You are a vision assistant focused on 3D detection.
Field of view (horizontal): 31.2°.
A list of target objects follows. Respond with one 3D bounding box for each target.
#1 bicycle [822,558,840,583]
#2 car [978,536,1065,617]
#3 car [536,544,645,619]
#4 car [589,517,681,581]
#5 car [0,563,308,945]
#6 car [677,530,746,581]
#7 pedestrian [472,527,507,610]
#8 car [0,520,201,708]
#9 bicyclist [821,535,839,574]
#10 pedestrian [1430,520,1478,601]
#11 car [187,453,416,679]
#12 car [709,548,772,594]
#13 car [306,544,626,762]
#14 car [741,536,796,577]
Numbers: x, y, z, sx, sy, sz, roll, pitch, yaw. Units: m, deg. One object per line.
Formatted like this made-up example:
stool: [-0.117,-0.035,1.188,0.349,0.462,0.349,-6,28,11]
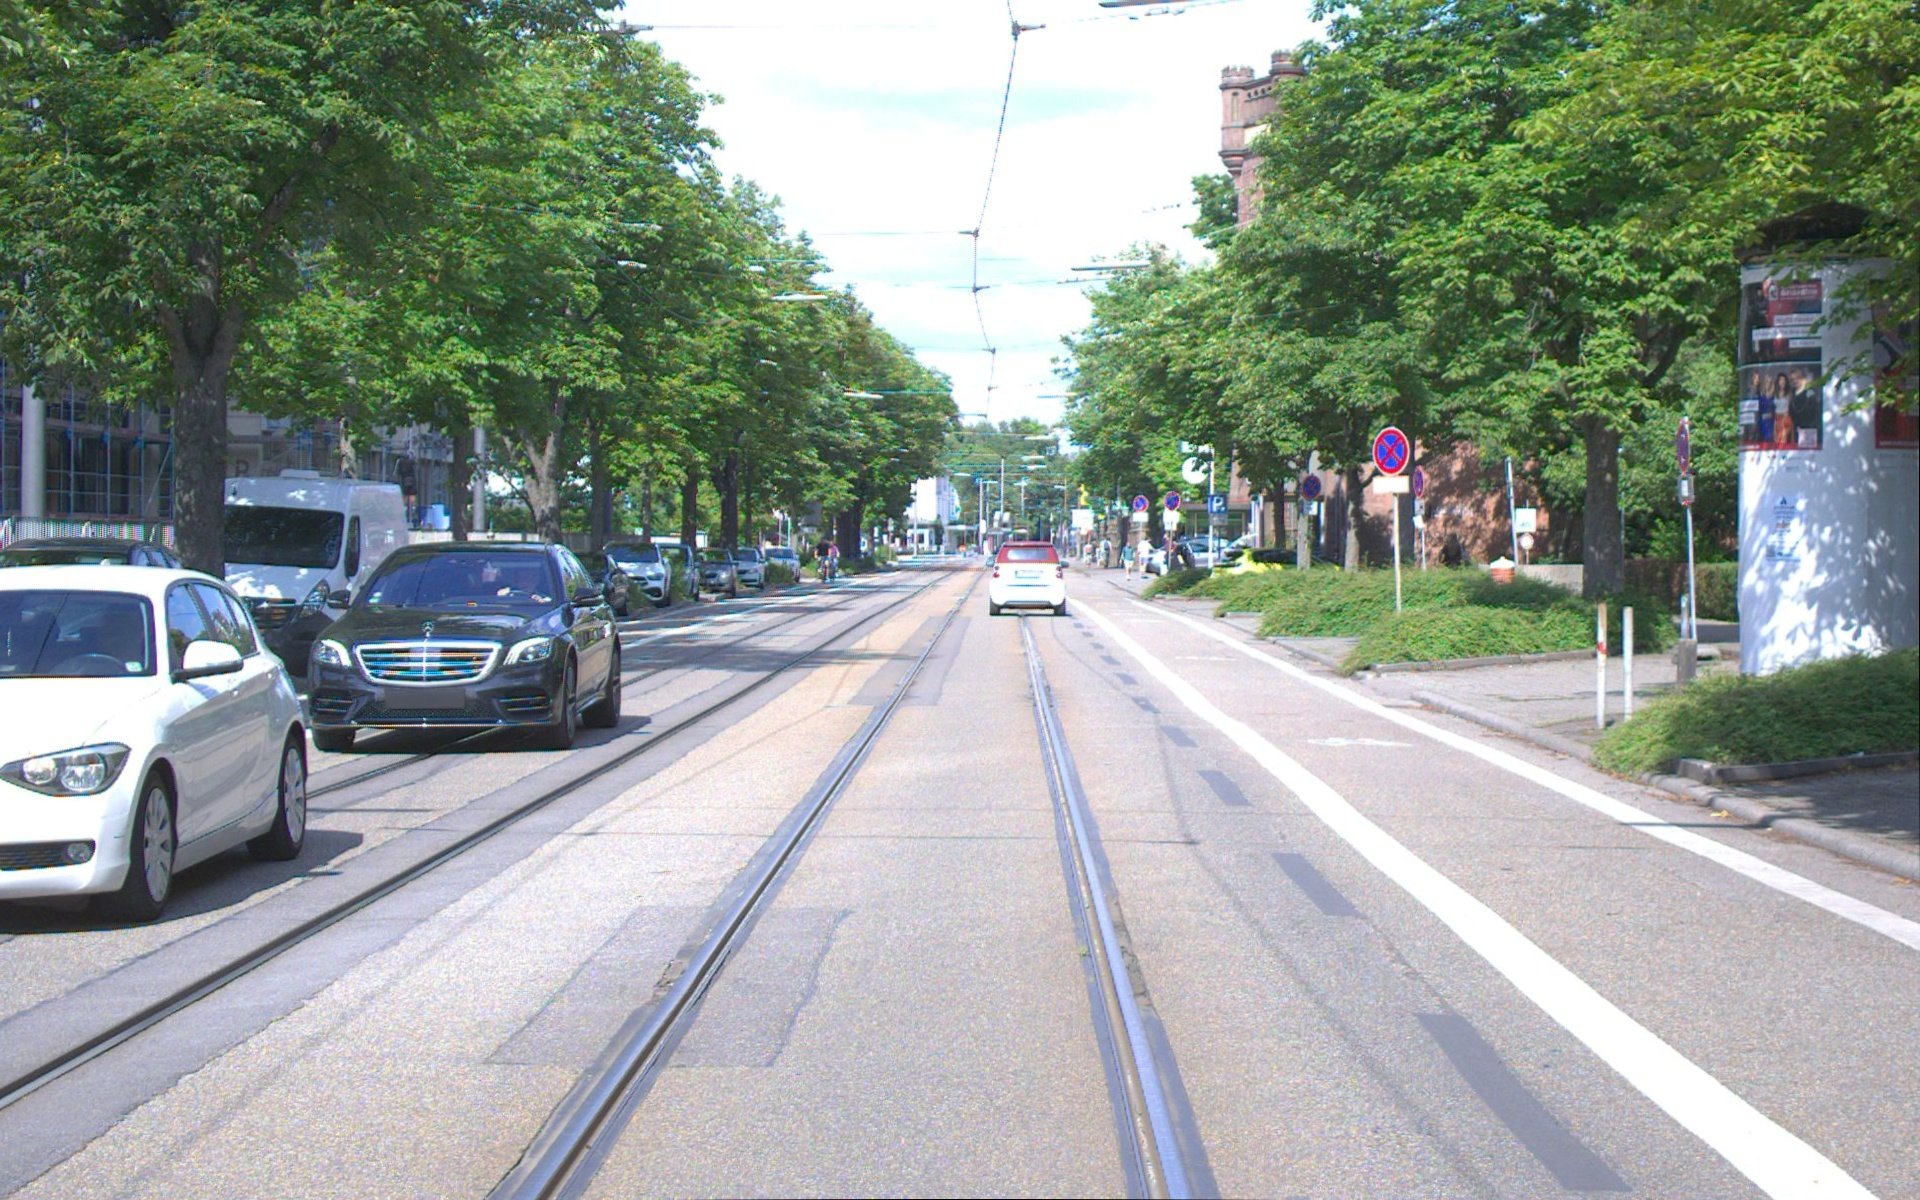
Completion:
bicycle: [-5.193,-1.191,138.378,0.618,0.970,1.717,1,1,0]
car: [1.262,-0.508,71.830,1.665,1.619,3.621,0,1,-2]
car: [-7.874,-0.422,73.629,1.804,1.511,4.103,2,1,1]
car: [-7.900,-1.245,83.873,1.804,1.511,4.103,1,1,1]
car: [-3.993,0.561,14.811,1.686,1.401,4.227,-1,1,-2]
car: [-7.657,-1.389,106.210,1.804,1.511,4.103,1,1,1]
pedestrian: [-11.421,-0.762,83.451,0.802,2.007,0.485,0,1,-8]
car: [-8.653,0.077,32.869,1.804,1.656,4.103,2,1,1]
bicyclist: [-5.230,-1.830,138.430,0.658,1.574,0.946,2,1,-1]
pedestrian: [12.529,-0.996,87.180,0.977,2.007,1.093,2,1,0]
car: [-8.247,-0.443,43.531,1.769,2.630,5.322,2,1,0]
car: [-7.564,-1.029,118.800,1.804,1.511,4.103,2,1,1]
car: [-3.679,0.339,26.353,1.800,1.503,4.536,1,1,0]
car: [-7.226,-1.665,130.281,1.804,1.511,4.103,1,1,1]
